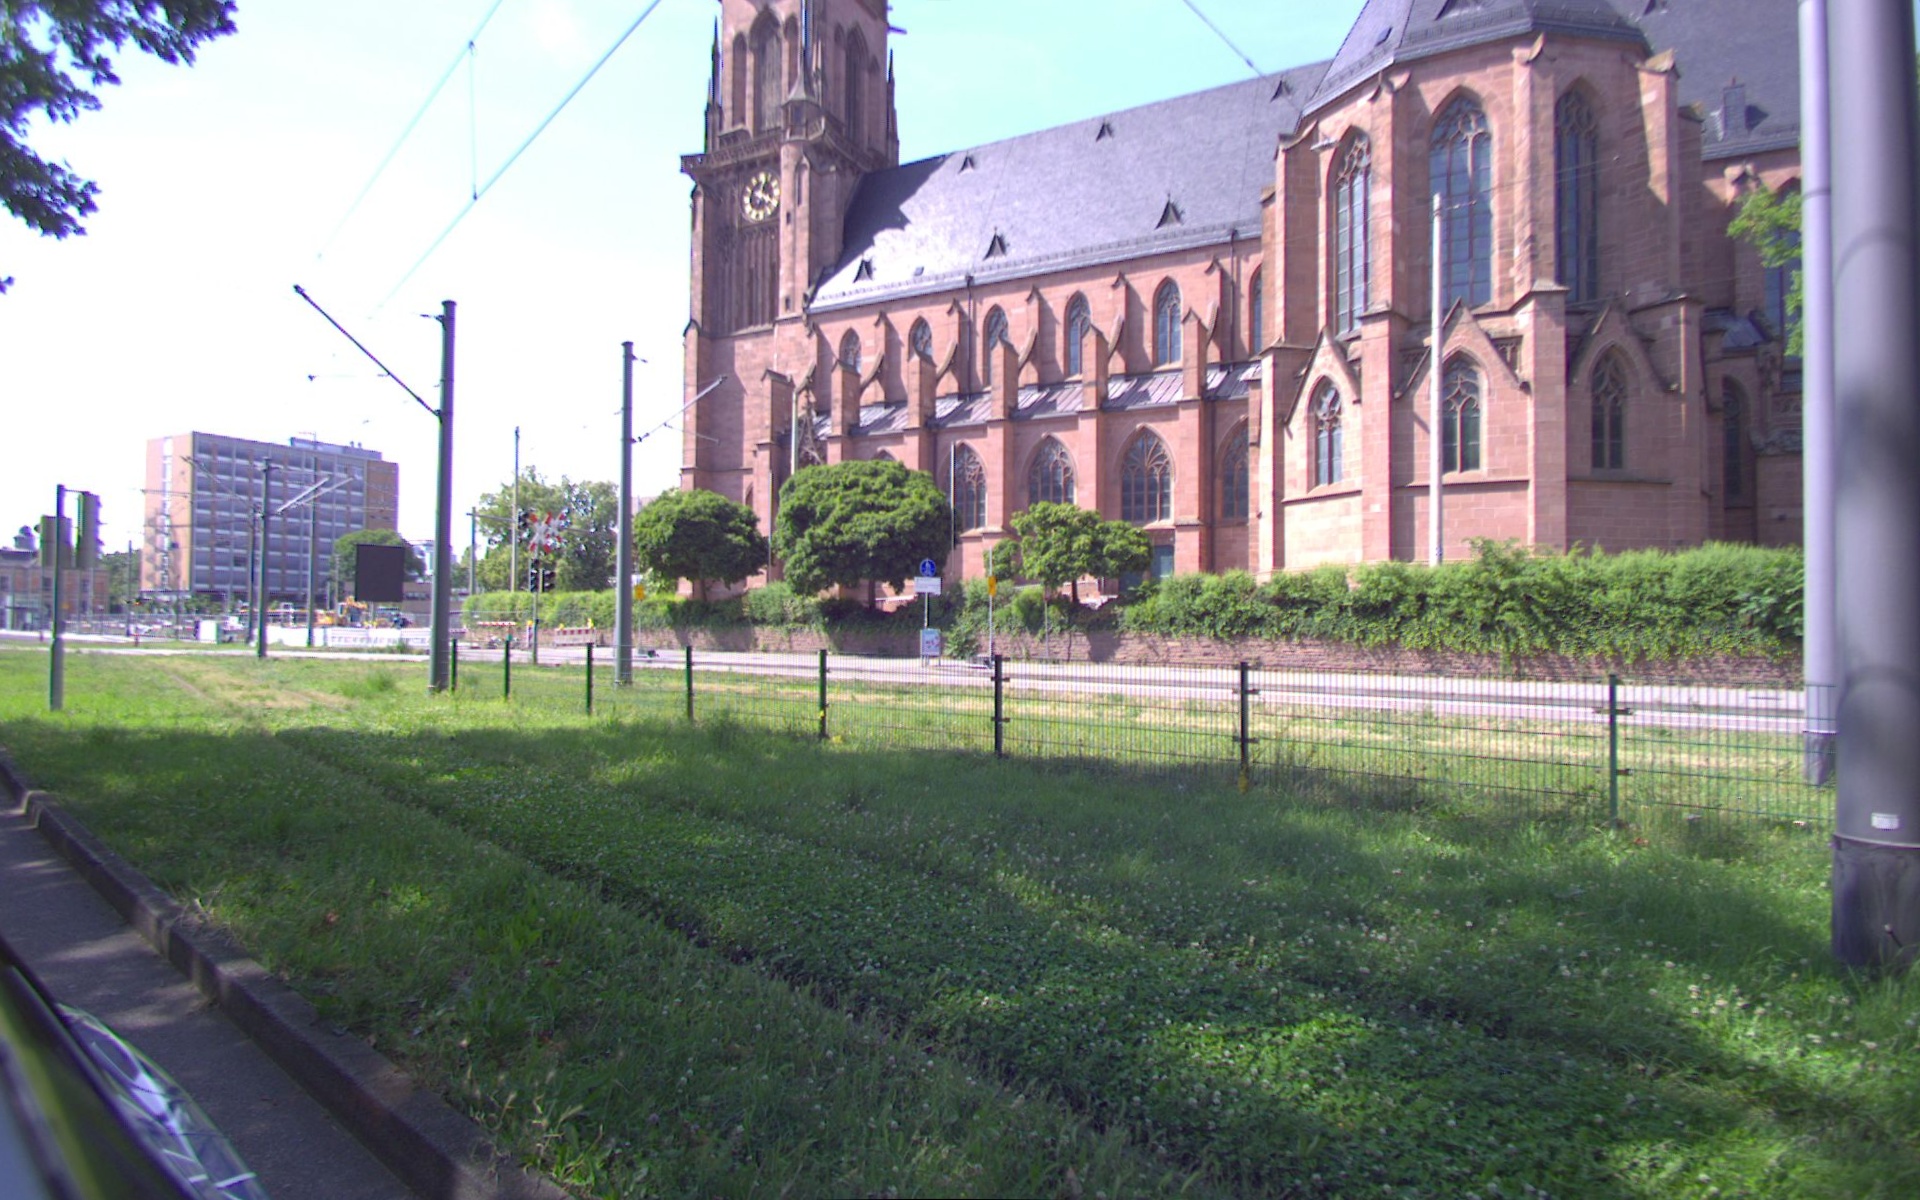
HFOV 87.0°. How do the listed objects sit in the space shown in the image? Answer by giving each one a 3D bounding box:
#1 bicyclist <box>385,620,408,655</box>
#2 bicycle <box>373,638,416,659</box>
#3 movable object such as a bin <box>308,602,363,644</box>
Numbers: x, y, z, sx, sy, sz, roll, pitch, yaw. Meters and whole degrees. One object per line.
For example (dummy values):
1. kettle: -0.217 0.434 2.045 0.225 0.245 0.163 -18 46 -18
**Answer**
1. bicyclist: -29.067 1.916 52.241 0.786 1.775 0.643 0 -2 12
2. bicycle: -29.210 2.506 52.261 1.949 1.054 0.654 0 -2 12
3. movable object such as a bin: -59.091 2.171 95.785 2.903 3.911 3.328 0 -2 6
